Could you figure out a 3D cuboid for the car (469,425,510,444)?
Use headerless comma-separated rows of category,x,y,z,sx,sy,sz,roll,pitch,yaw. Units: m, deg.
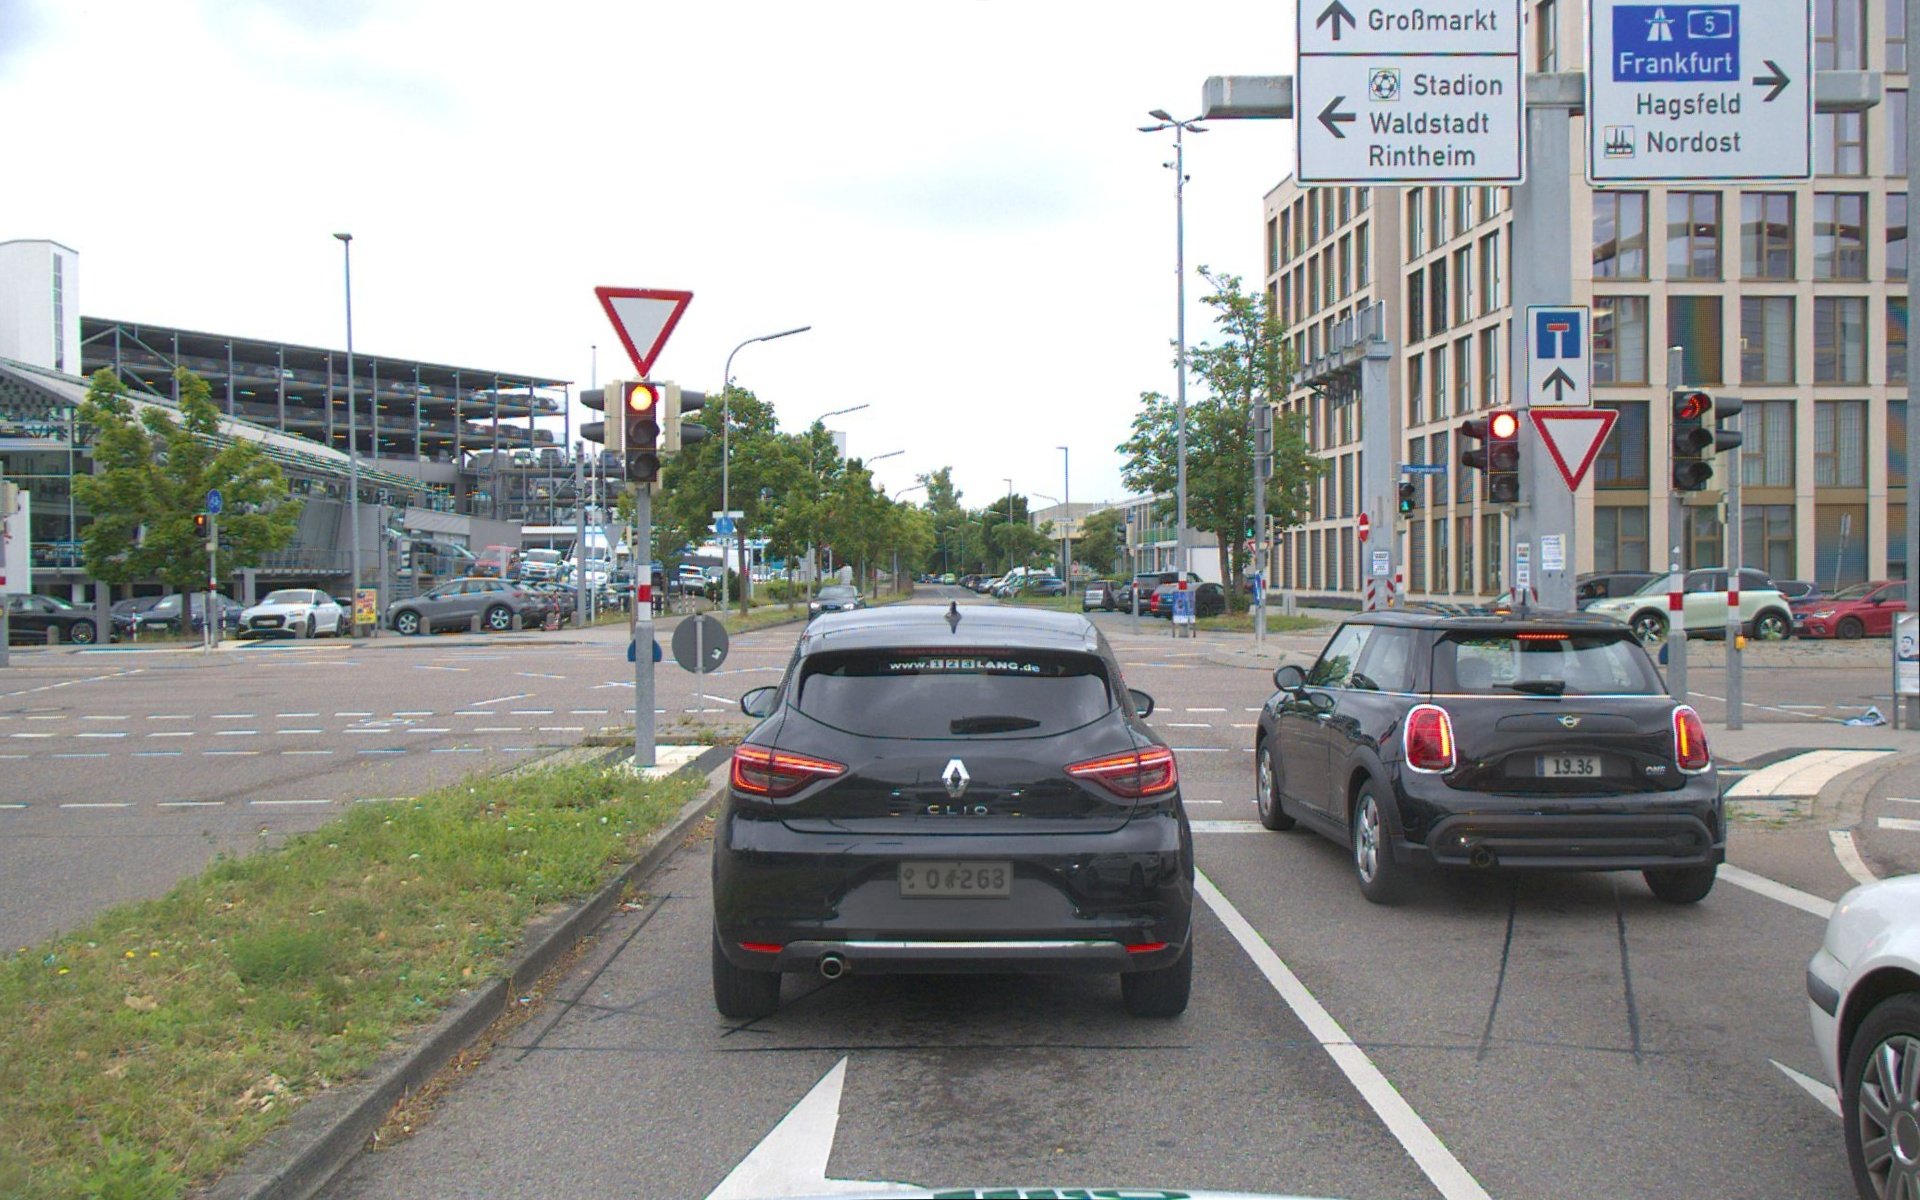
car,-49.426,-17.394,173.679,3.914,1.696,1.996,1,1,31

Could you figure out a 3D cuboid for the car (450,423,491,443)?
car,-50.651,-17.284,171.137,3.914,1.696,1.996,1,1,31

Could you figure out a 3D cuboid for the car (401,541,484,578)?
car,-28.049,-2.172,89.733,3.908,1.870,1.759,1,0,-4

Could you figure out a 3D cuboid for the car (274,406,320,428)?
car,-61.424,-16.943,153.281,3.914,1.696,1.996,1,1,31

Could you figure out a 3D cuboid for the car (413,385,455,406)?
car,-53.067,-20.611,166.843,3.914,1.696,1.996,1,1,31

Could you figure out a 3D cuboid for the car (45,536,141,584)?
car,-32.734,-1.489,62.552,1.784,1.691,3.995,1,0,-5

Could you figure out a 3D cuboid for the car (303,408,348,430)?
car,-59.644,-17.022,155.538,3.914,1.696,1.996,1,1,31

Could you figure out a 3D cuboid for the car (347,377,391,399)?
car,-57.132,-20.540,159.994,3.914,1.696,1.996,1,1,31

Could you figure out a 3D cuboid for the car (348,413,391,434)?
car,-57.087,-17.083,159.897,3.914,1.696,1.996,1,1,31

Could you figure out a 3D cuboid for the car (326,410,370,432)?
car,-58.349,-17.058,157.683,3.914,1.696,1.996,1,1,31

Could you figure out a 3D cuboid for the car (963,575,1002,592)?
car,3.007,-2.195,218.660,5.069,2.049,2.143,1,0,-2

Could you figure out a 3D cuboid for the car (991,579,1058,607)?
car,5.007,-0.528,129.048,5.070,2.049,2.142,1,0,-3

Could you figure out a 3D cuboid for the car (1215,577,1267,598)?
car,18.896,-0.821,111.294,3.182,1.356,1.477,1,0,-20

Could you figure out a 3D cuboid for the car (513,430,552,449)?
car,-46.282,-17.354,179.035,3.914,1.696,1.996,1,1,31

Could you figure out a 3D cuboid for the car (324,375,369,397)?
car,-58.476,-20.384,157.672,3.914,1.696,1.996,1,1,31

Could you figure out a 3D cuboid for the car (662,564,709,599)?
car,-13.768,-0.913,83.197,1.954,1.646,3.996,1,0,-4

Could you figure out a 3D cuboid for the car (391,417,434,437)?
car,-54.390,-17.180,164.360,3.914,1.696,1.996,1,1,31

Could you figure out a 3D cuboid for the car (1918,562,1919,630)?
car,27.227,-0.073,42.572,4.055,1.800,1.998,1,0,-5

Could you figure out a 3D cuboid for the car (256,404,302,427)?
car,-62.283,-16.829,151.187,3.914,1.696,1.996,1,1,31

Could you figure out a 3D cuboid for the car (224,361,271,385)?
car,-64.008,-20.390,148.672,3.914,1.696,1.996,1,1,31

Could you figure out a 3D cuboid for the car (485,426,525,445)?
car,-48.361,-17.449,175.653,3.914,1.696,1.996,1,1,31

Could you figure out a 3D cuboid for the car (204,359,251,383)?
car,-64.943,-20.261,146.608,3.914,1.696,1.996,1,1,31

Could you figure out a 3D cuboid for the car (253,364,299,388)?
car,-62.455,-20.457,151.090,3.914,1.696,1.996,1,1,31

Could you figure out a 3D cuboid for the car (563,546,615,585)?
car,-18.609,-1.722,83.168,1.954,1.855,3.996,1,0,-4

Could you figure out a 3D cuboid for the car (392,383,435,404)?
car,-54.383,-20.560,164.522,3.914,1.696,1.996,1,1,31

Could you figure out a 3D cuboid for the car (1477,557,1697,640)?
car,14.430,-0.025,38.190,4.321,1.800,1.998,1,0,-5

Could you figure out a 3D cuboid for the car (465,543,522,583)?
car,-23.430,-1.852,83.208,1.954,1.881,3.996,1,0,-4

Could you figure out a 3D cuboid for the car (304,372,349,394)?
car,-59.591,-20.412,155.643,3.914,1.696,1.996,1,1,31

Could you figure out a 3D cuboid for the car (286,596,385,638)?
car,-28.965,0.796,76.803,3.911,1.870,1.757,1,0,-7

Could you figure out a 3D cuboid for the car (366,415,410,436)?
car,-55.953,-17.083,161.767,3.914,1.696,1.996,1,1,31

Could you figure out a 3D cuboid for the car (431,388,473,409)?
car,-52.031,-20.625,169.483,3.914,1.696,1.996,1,1,31

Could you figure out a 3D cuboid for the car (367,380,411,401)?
car,-55.889,-20.502,161.836,3.914,1.696,1.996,1,1,31

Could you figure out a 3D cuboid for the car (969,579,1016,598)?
car,3.559,-1.254,182.224,5.069,2.049,2.143,1,0,-2

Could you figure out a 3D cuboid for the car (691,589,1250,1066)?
car,0.009,0.719,7.158,1.721,1.460,3.999,1,0,-1

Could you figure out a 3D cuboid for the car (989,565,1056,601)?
car,5.737,-1.521,151.672,5.993,3.171,2.133,1,0,-2

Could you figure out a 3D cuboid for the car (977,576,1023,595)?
car,4.245,-1.574,175.634,4.690,1.924,2.142,1,0,-3

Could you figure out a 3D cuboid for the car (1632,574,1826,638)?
car,19.392,0.160,41.781,4.055,1.517,1.870,1,0,-5

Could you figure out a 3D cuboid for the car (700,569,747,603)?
car,-12.034,-0.683,84.200,1.954,1.646,3.998,1,0,-3

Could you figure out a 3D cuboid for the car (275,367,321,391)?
car,-61.218,-20.428,152.977,3.914,1.696,1.996,1,1,31

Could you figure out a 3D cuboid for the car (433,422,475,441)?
car,-51.748,-17.227,169.159,3.914,1.696,1.996,1,1,31

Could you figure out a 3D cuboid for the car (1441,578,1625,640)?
car,14.334,0.232,41.472,4.005,1.457,1.749,1,0,-5

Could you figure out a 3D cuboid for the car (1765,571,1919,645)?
car,21.264,0.201,38.697,3.908,1.629,1.998,1,0,-4

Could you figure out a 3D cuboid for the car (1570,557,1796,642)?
car,15.220,-0.006,34.930,3.977,1.672,1.903,1,0,-6

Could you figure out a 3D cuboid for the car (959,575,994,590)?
car,2.244,-2.474,229.921,4.690,1.924,2.142,1,0,-3

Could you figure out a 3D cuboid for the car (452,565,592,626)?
car,-16.212,-0.172,61.418,4.683,2.049,1.997,-2,0,-7
